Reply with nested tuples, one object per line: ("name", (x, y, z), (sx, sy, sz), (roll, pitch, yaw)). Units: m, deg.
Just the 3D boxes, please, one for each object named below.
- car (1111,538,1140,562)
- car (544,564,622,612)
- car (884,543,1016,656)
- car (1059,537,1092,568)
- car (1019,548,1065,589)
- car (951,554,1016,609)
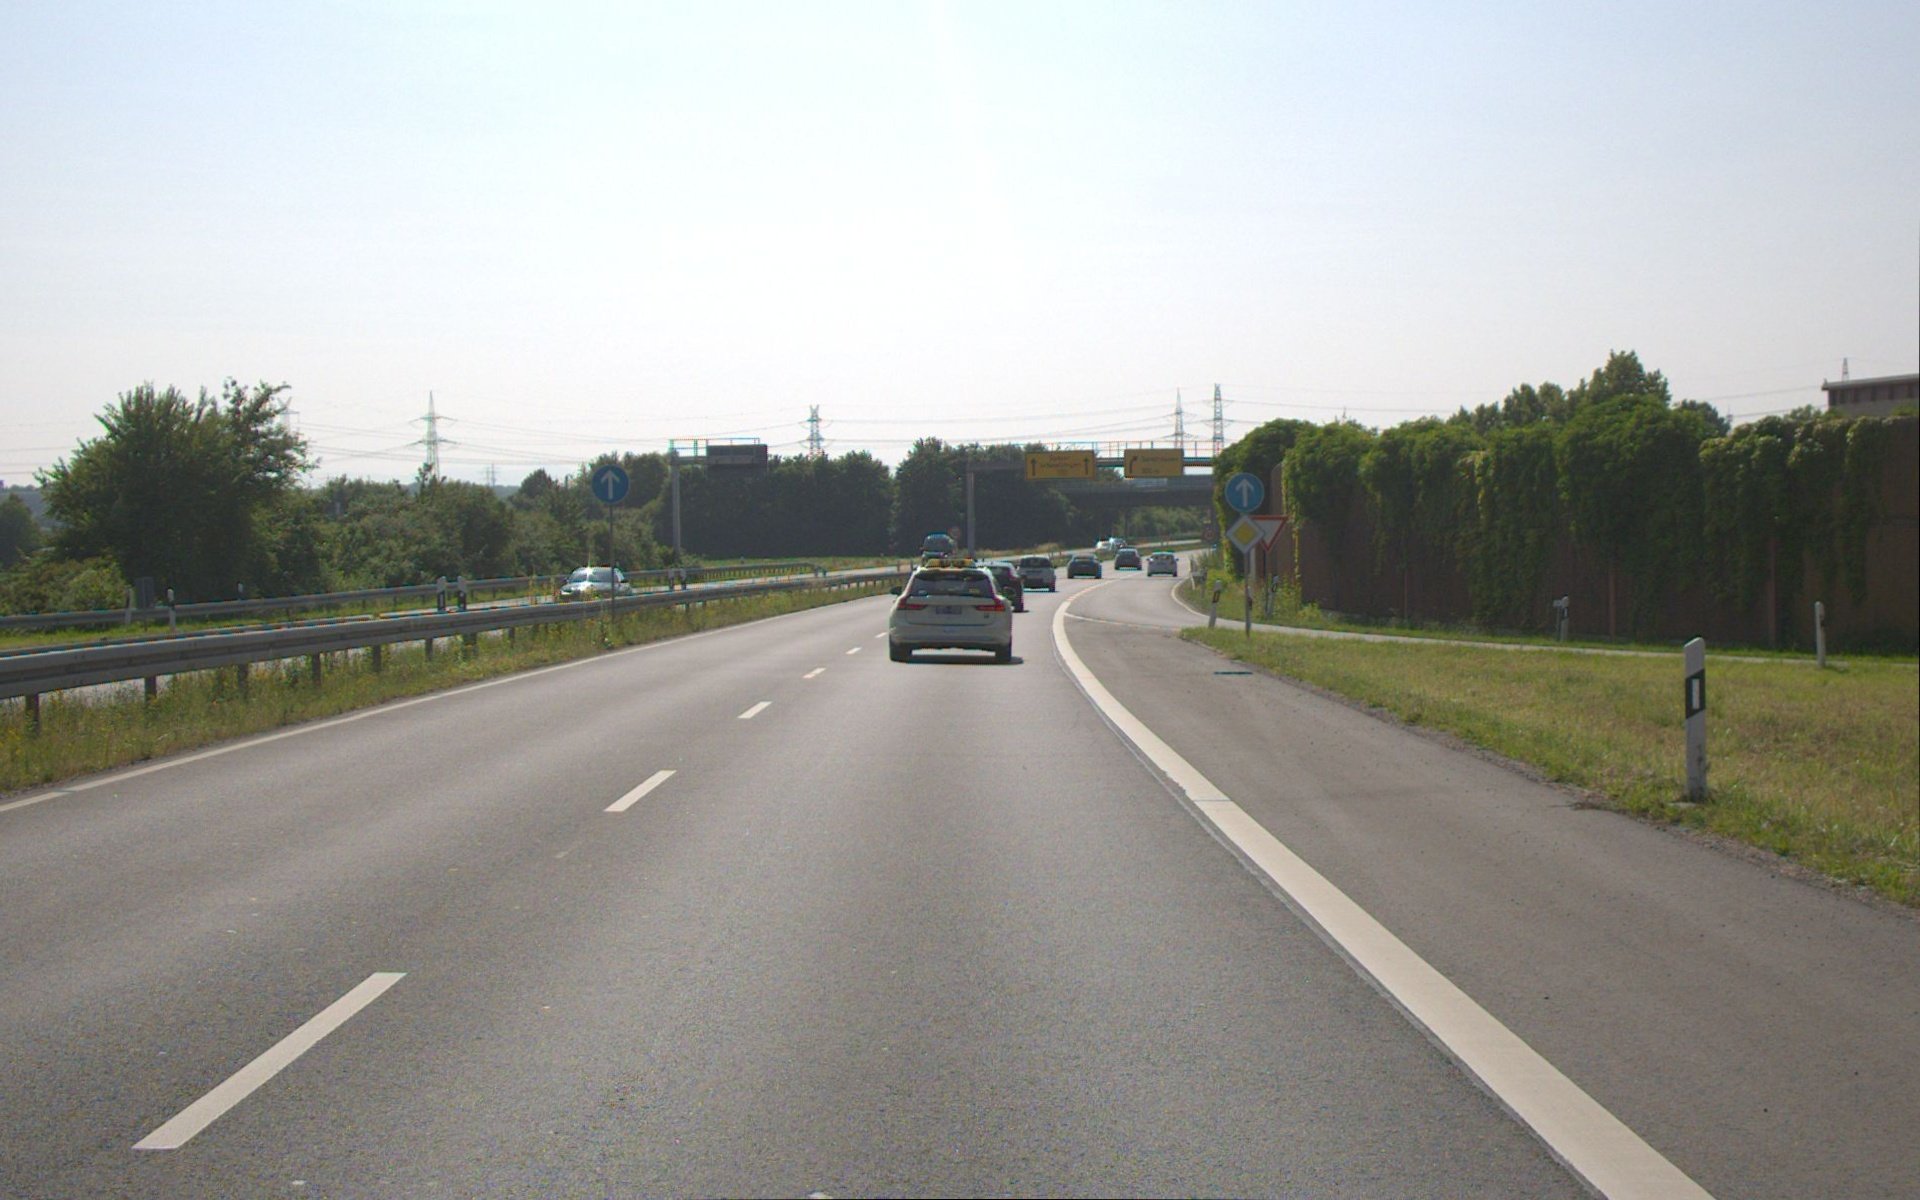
("car", (11.691, -3.557, 243.180), (1.841, 1.692, 3.999), (0, 1, 6))
("car", (-11.460, -0.367, 104.862), (1.800, 1.415, 4.676), (1, 0, 1))
("car", (-0.179, -0.042, 53.634), (1.958, 1.596, 4.107), (1, 2, -1))
("car", (6.672, -2.747, 198.259), (1.841, 1.796, 4.000), (0, 1, 3))
("car", (3.482, -1.341, 145.995), (1.769, 1.731, 3.631), (0, 1, 4))
("car", (0.699, -0.562, 99.860), (1.793, 1.538, 3.672), (0, 1, 1))
